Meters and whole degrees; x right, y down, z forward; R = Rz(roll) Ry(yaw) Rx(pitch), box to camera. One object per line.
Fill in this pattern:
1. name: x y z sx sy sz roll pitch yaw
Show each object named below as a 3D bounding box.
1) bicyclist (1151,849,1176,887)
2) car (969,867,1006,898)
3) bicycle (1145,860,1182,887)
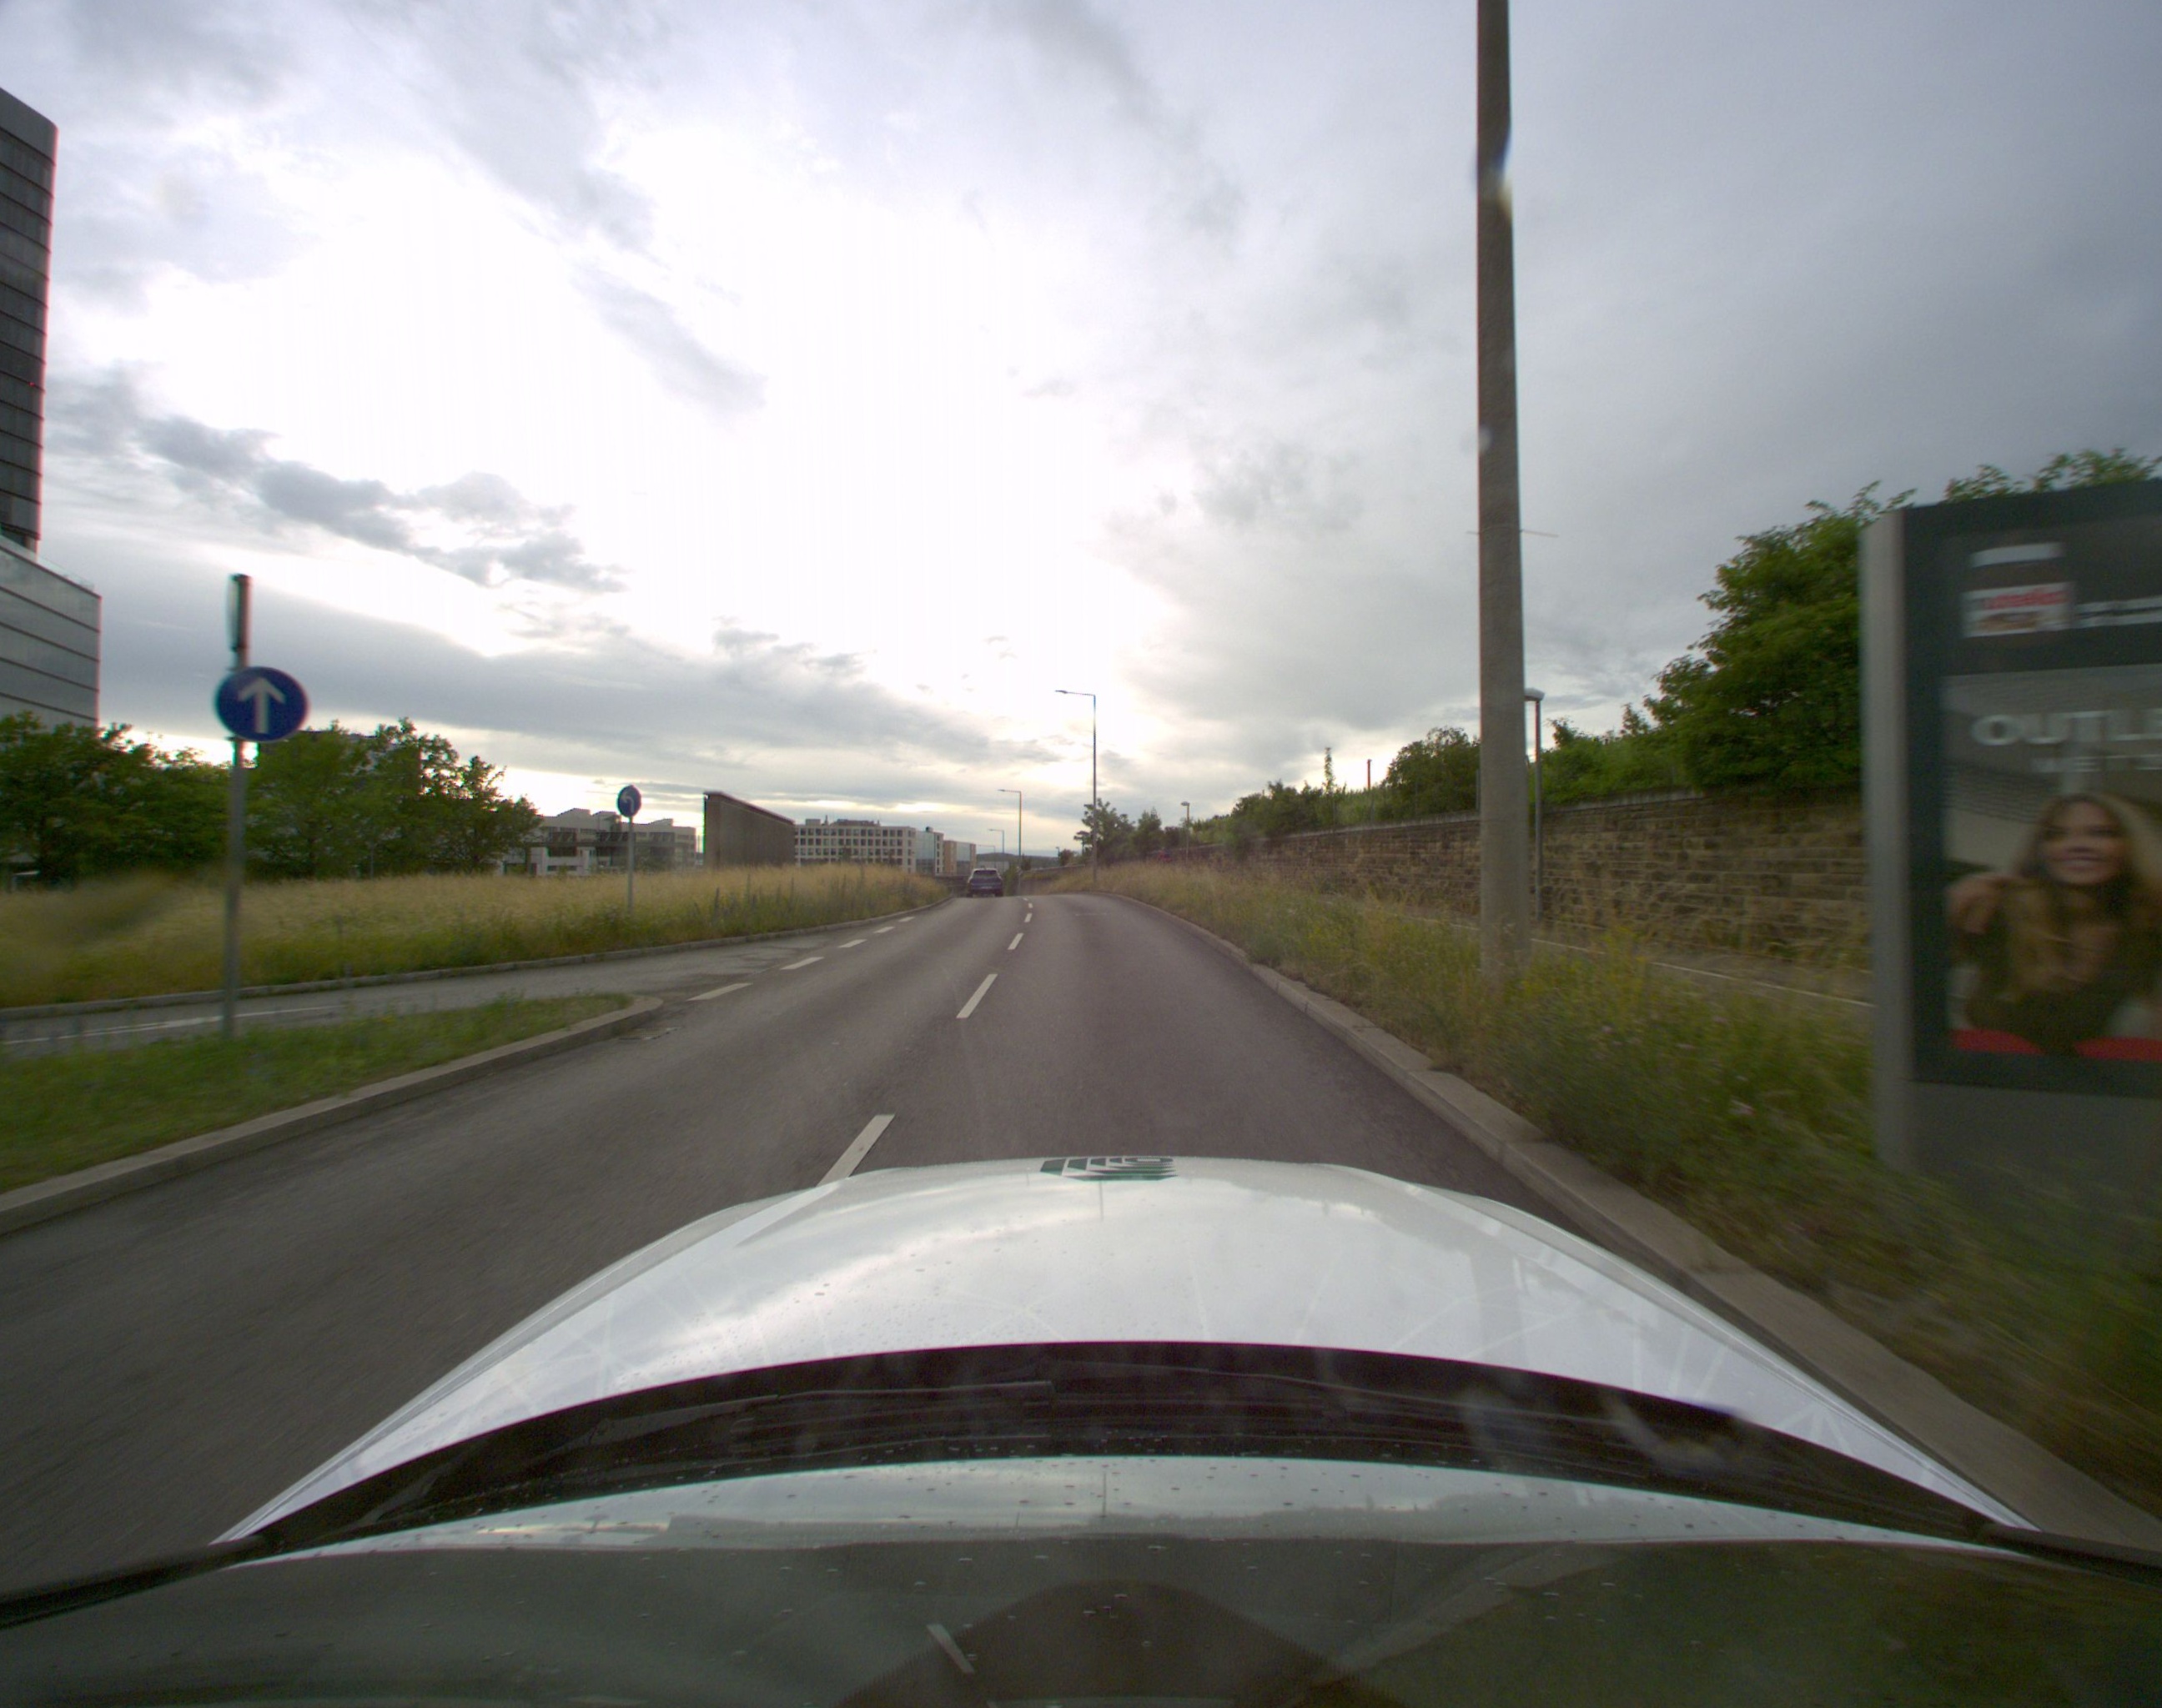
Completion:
1. bicyclist: 4.214 0.715 41.594 0.869 1.909 1.289 2 -2 -11
2. car: -4.753 1.425 41.361 1.747 1.420 3.469 2 -1 -7
3. bicycle: 4.192 1.008 41.667 0.869 1.288 3.473 2 -2 -11
